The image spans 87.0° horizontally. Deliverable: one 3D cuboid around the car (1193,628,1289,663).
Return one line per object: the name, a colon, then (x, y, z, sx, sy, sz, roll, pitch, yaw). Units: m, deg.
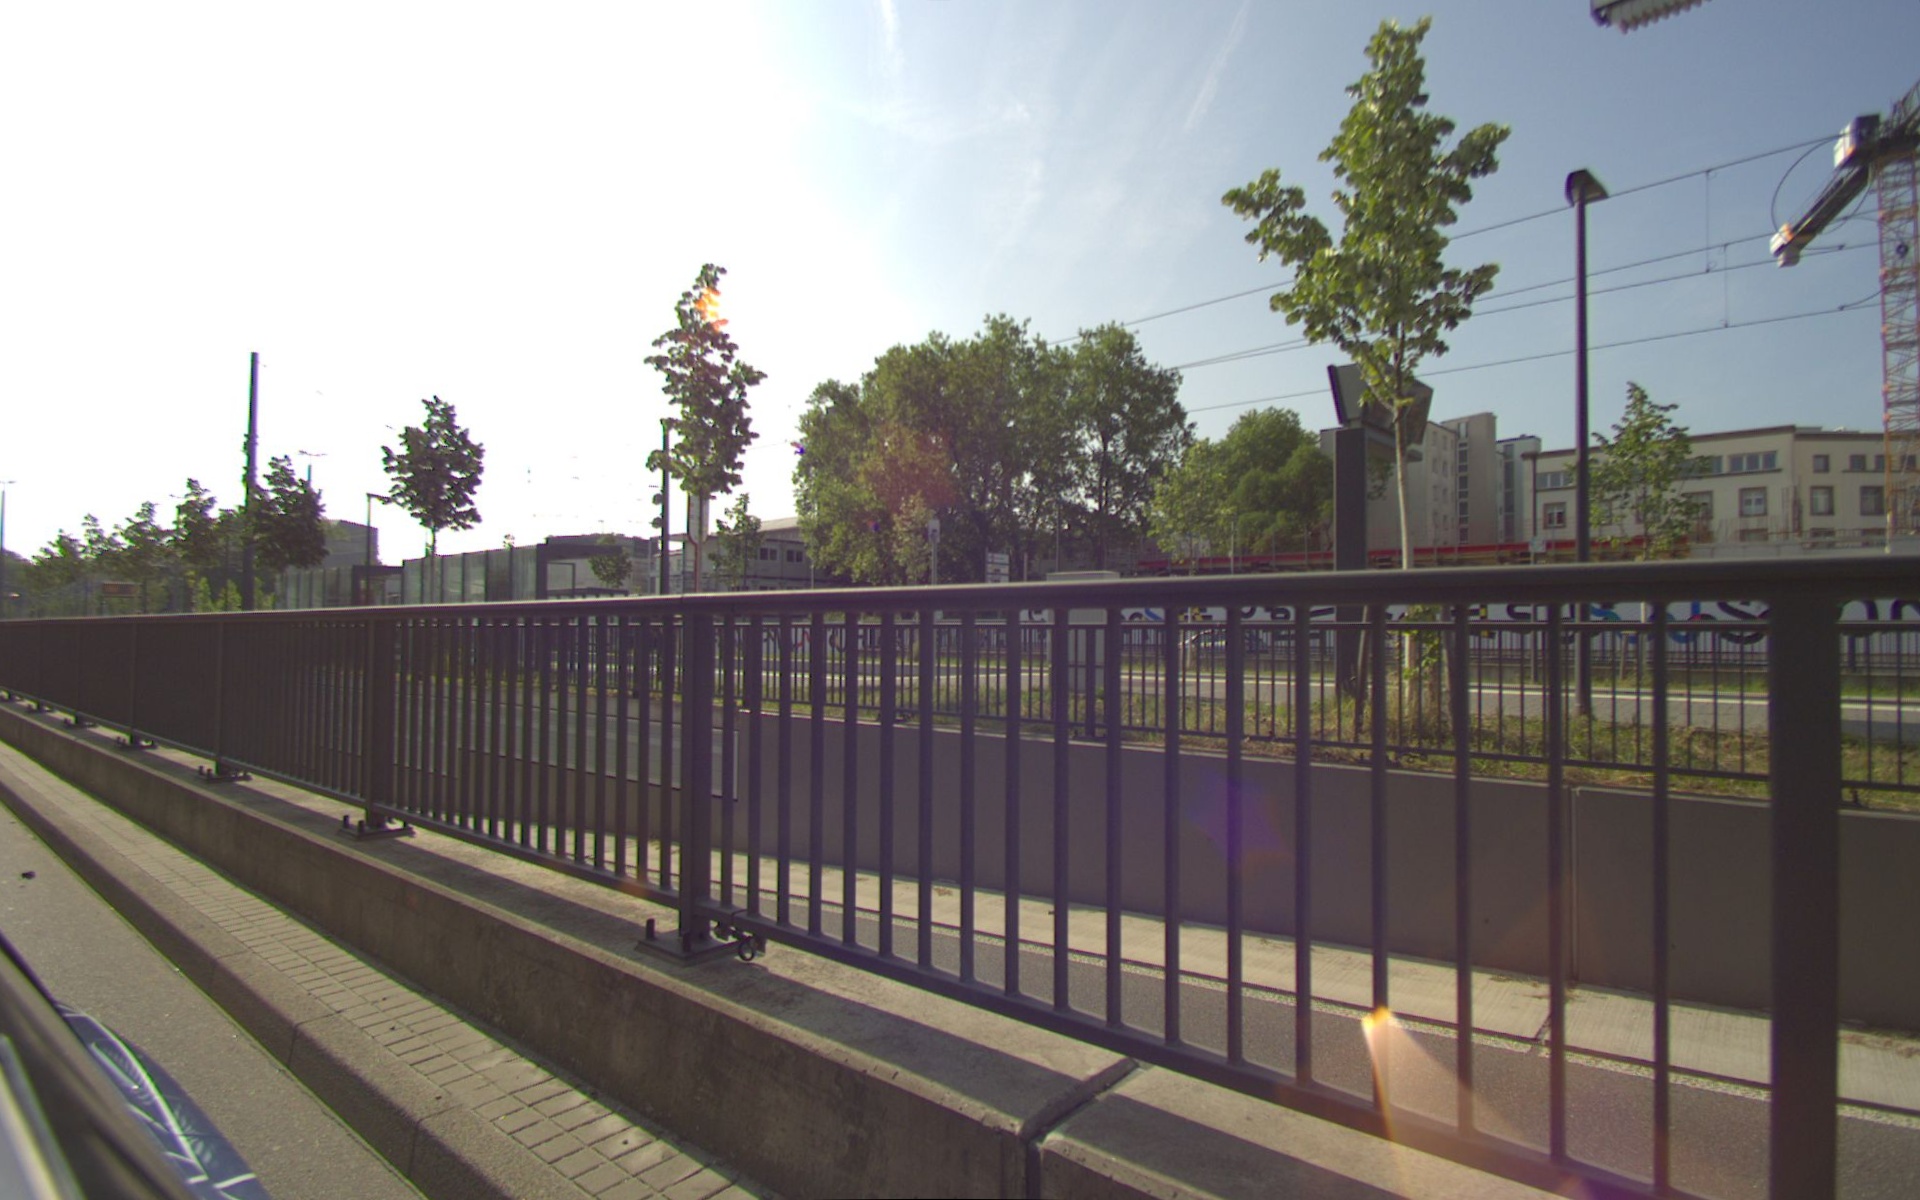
car: (10.030, 1.608, 36.175, 2.959, 1.211, 1.485, -2, -2, 41)

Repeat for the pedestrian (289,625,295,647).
pedestrian: (-49.685, 2.671, 75.247, 0.365, 1.689, 0.642, 1, -2, -32)

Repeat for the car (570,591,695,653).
car: (-20.215, 1.395, 62.053, 9.228, 3.539, 3.022, -2, -2, 41)

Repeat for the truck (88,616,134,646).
truck: (-106.219, 3.881, 126.606, 8.885, 3.614, 2.990, -2, -3, 41)
